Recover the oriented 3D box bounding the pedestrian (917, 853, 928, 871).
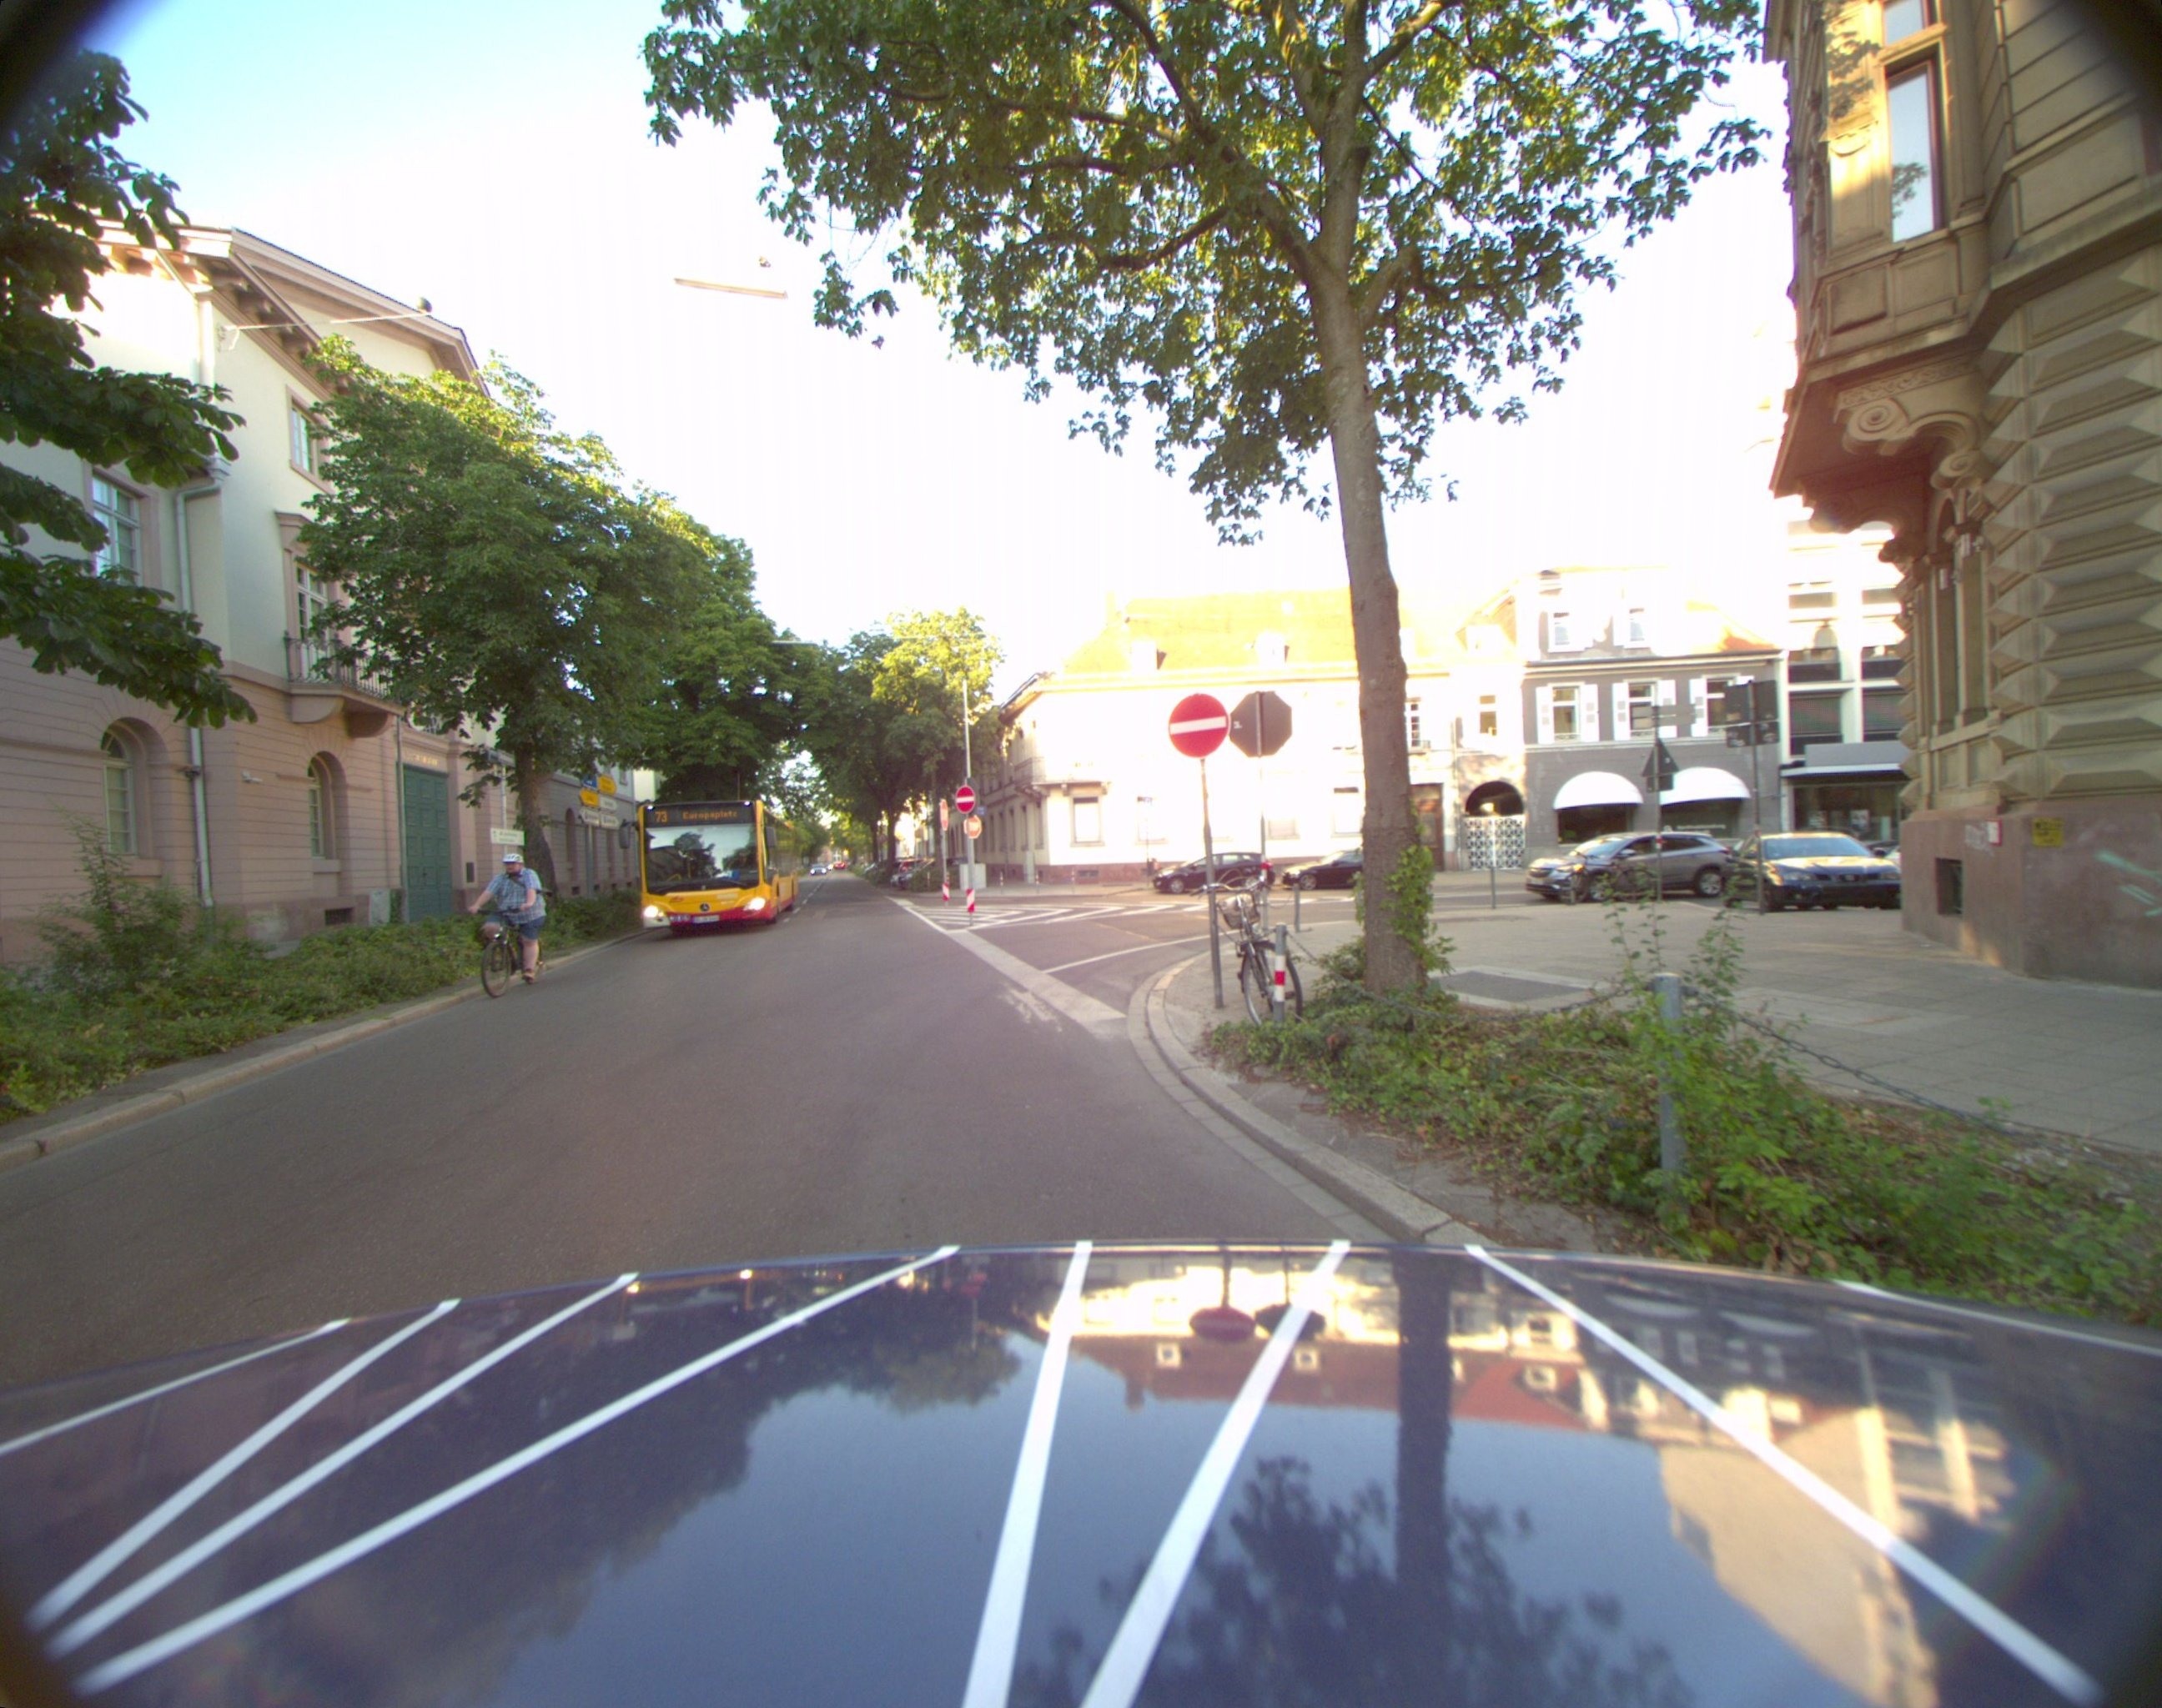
[{"bbox_3d":[-16.062,0.765,76.871,0.896,1.760,1.020,-2,1,-18],"label":"pedestrian"}]

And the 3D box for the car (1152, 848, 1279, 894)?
[{"bbox_3d":[4.891,0.621,28.084,4.425,1.532,1.808,-2,0,5],"label":"car"}]

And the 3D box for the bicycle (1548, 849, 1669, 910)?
[{"bbox_3d":[10.508,0.521,15.209,1.800,1.119,0.729,-2,-2,14],"label":"bicycle"}]

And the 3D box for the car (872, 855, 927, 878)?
[{"bbox_3d":[-14.526,0.994,60.771,4.003,1.606,1.721,-2,1,-19],"label":"car"}]

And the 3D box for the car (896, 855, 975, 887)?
[{"bbox_3d":[-8.028,0.910,41.867,4.003,1.606,1.721,-2,1,-19],"label":"car"}]

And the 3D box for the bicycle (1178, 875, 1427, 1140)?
[{"bbox_3d":[1.306,0.825,5.193,0.845,1.260,2.572,-2,0,-2],"label":"bicycle"}]

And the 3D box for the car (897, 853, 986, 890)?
[{"bbox_3d":[-6.821,0.834,37.189,4.003,1.606,1.826,-2,1,-19],"label":"car"}]

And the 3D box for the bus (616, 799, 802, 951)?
[{"bbox_3d":[-9.818,0.430,21.621,2.715,2.983,12.064,-4,1,-17],"label":"bus"}]

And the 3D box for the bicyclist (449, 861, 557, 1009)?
[{"bbox_3d":[-7.708,1.035,10.178,0.784,1.829,0.825,-4,2,-18],"label":"bicyclist"}]

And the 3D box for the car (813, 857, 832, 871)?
[{"bbox_3d":[-34.079,1.316,100.153,2.084,1.687,3.994,-2,0,-16],"label":"car"}]

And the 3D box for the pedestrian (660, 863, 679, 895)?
[{"bbox_3d":[-24.225,1.438,44.747,0.801,1.821,0.928,-2,1,-20],"label":"pedestrian"}]

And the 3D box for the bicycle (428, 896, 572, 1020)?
[{"bbox_3d":[-7.695,1.306,10.209,0.784,1.322,2.075,-4,1,-17],"label":"bicycle"}]

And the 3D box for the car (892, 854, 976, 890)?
[{"bbox_3d":[-7.625,0.905,39.449,4.003,1.606,1.721,-2,1,-19],"label":"car"}]

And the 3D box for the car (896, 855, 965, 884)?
[{"bbox_3d":[-9.411,0.925,47.576,4.003,1.606,1.721,-2,1,-19],"label":"car"}]

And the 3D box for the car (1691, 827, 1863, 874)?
[{"bbox_3d":[24.234,-0.118,26.594,4.244,1.438,1.748,-2,1,5],"label":"car"}]

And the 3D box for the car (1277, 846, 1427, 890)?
[{"bbox_3d":[9.730,0.515,27.618,4.851,1.386,1.780,-2,0,7],"label":"car"}]

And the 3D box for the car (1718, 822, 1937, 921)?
[{"bbox_3d":[12.724,0.340,13.263,1.736,1.452,3.872,-2,-3,29],"label":"car"}]

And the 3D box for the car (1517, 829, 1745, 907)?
[{"bbox_3d":[13.096,0.307,18.255,4.234,1.580,1.690,-3,1,0],"label":"car"}]
